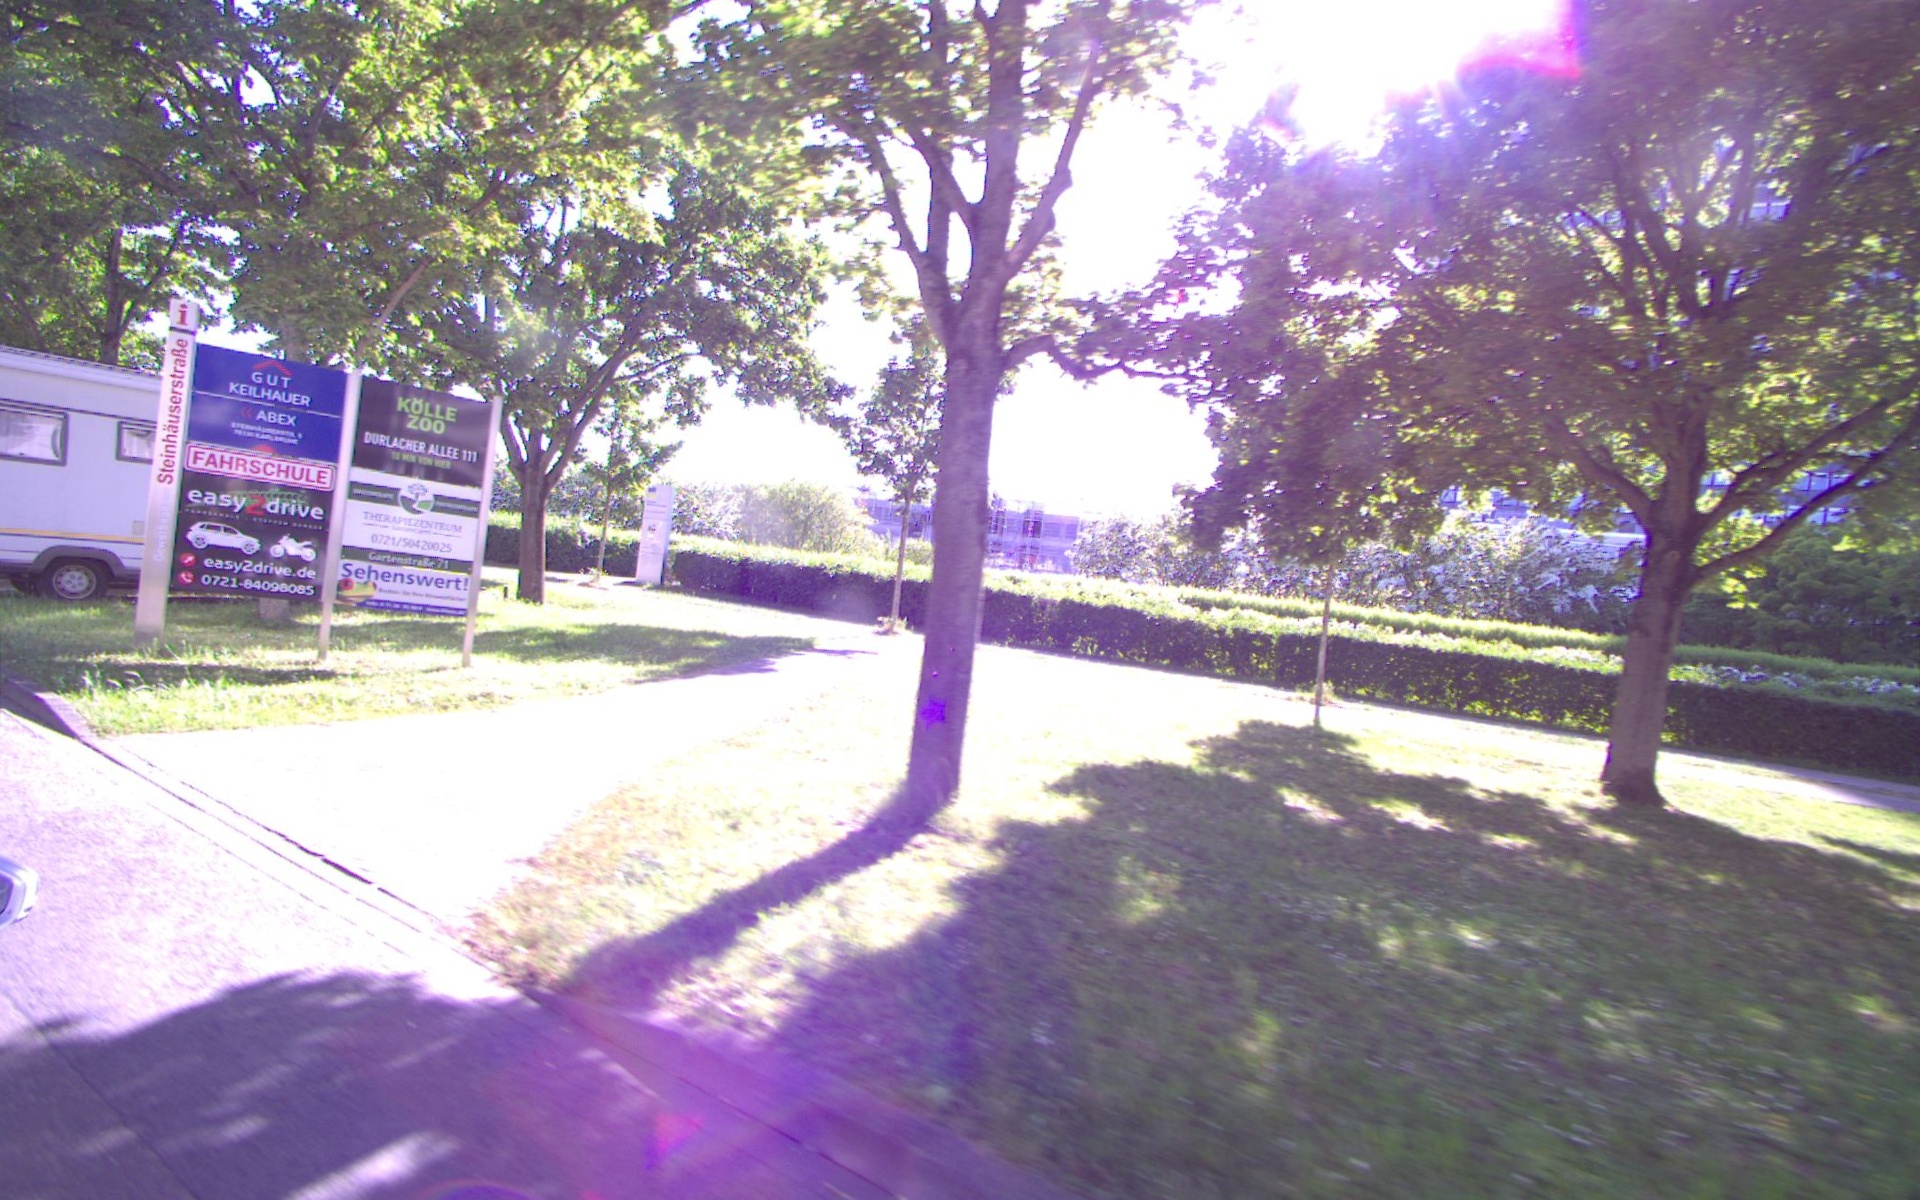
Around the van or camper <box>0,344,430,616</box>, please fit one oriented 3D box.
[{"bbox_3d":[-10.966,-1.478,13.635,2.536,2.968,6.071,7,2,37],"label":"van or camper"}]
